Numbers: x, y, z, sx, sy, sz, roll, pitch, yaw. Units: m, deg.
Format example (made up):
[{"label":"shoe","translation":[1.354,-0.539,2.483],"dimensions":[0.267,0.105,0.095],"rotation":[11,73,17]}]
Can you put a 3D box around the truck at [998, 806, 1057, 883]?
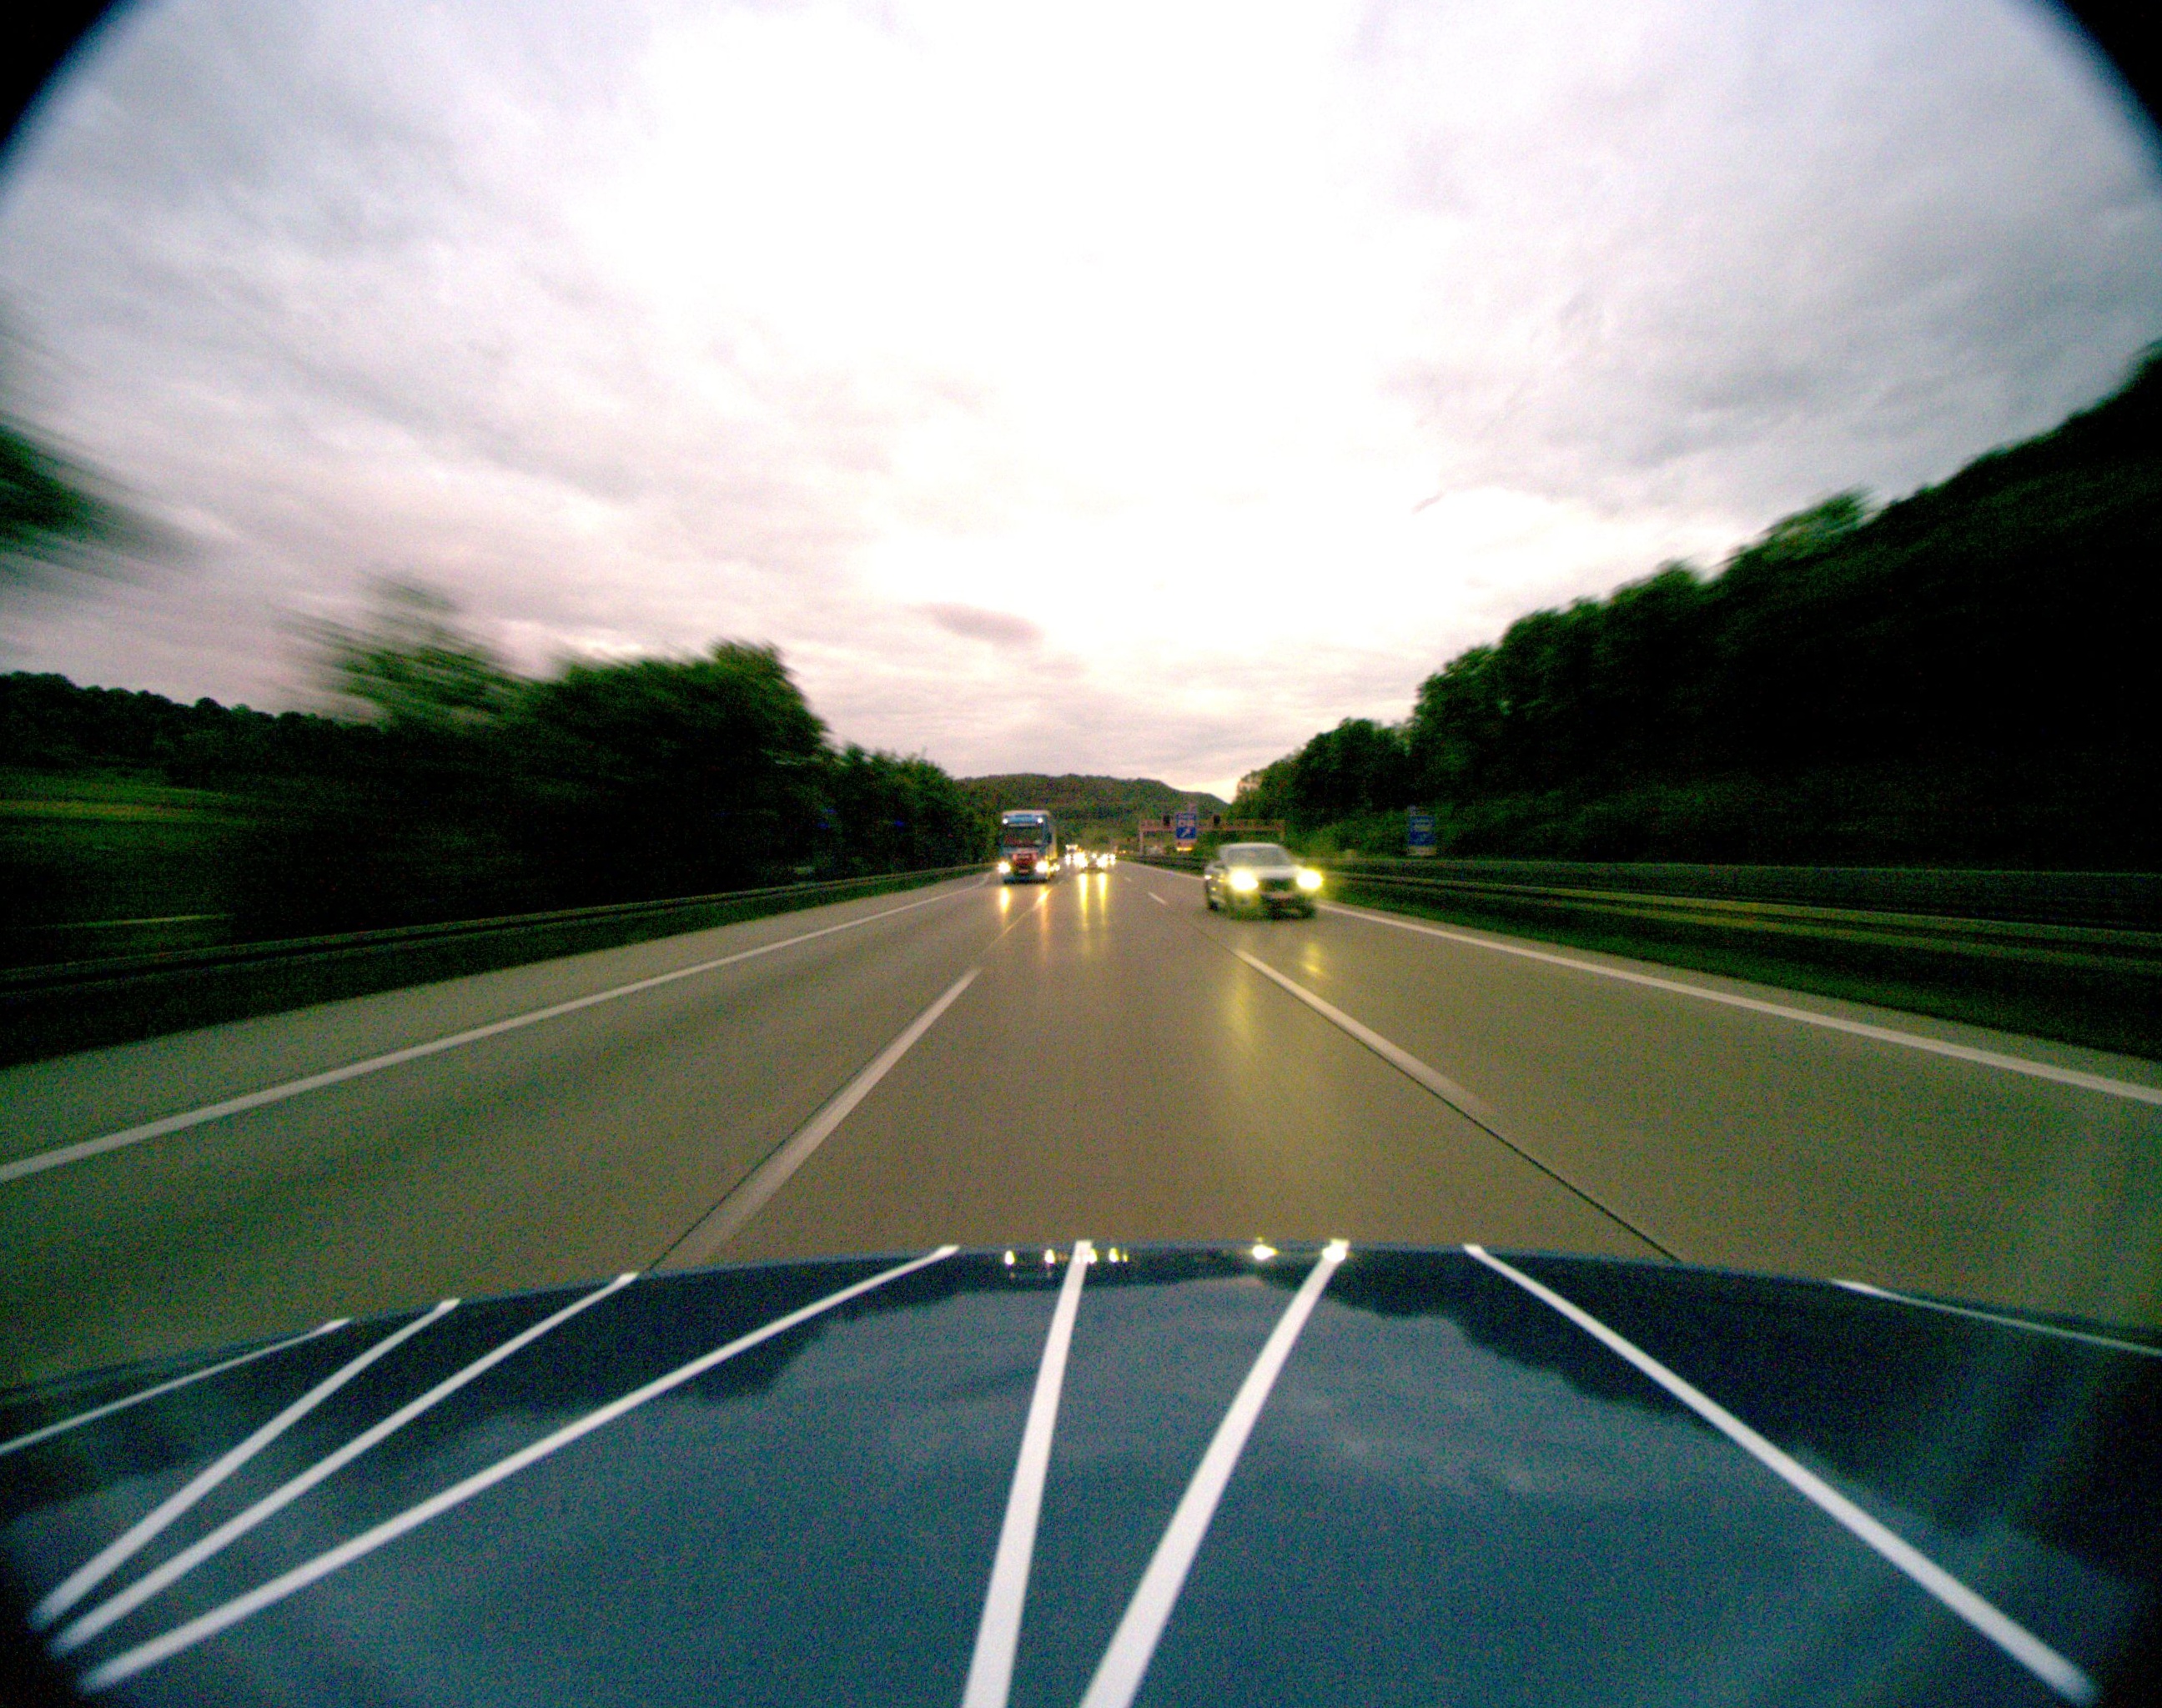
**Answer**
[{"label":"truck","translation":[-2.916,-0.514,43.166],"dimensions":[2.743,3.973,5.849],"rotation":[-2,1,1]}]

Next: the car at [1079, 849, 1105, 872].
[{"label":"car","translation":[0.920,0.447,59.603],"dimensions":[1.927,1.674,4.806],"rotation":[0,1,1]}]

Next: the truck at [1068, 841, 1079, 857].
[{"label":"truck","translation":[-1.838,-1.322,195.008],"dimensions":[2.623,3.805,10.385],"rotation":[-1,1,1]}]

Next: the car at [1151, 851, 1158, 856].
[{"label":"car","translation":[24.504,-0.231,252.012],"dimensions":[1.853,1.629,4.775],"rotation":[-1,1,1]}]

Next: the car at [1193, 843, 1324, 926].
[{"label":"car","translation":[4.084,0.603,18.502],"dimensions":[1.894,1.650,5.639],"rotation":[-2,1,1]}]

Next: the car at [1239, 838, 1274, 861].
[{"label":"car","translation":[18.421,-0.496,79.975],"dimensions":[2.143,2.345,6.719],"rotation":[-1,1,1]}]

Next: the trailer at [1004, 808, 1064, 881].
[{"label":"trailer","translation":[-2.850,-0.613,50.058],"dimensions":[2.778,4.063,13.738],"rotation":[-2,1,1]}]

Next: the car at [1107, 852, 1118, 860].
[{"label":"car","translation":[6.236,0.402,151.237],"dimensions":[1.898,1.503,4.000],"rotation":[-1,0,0]}]
